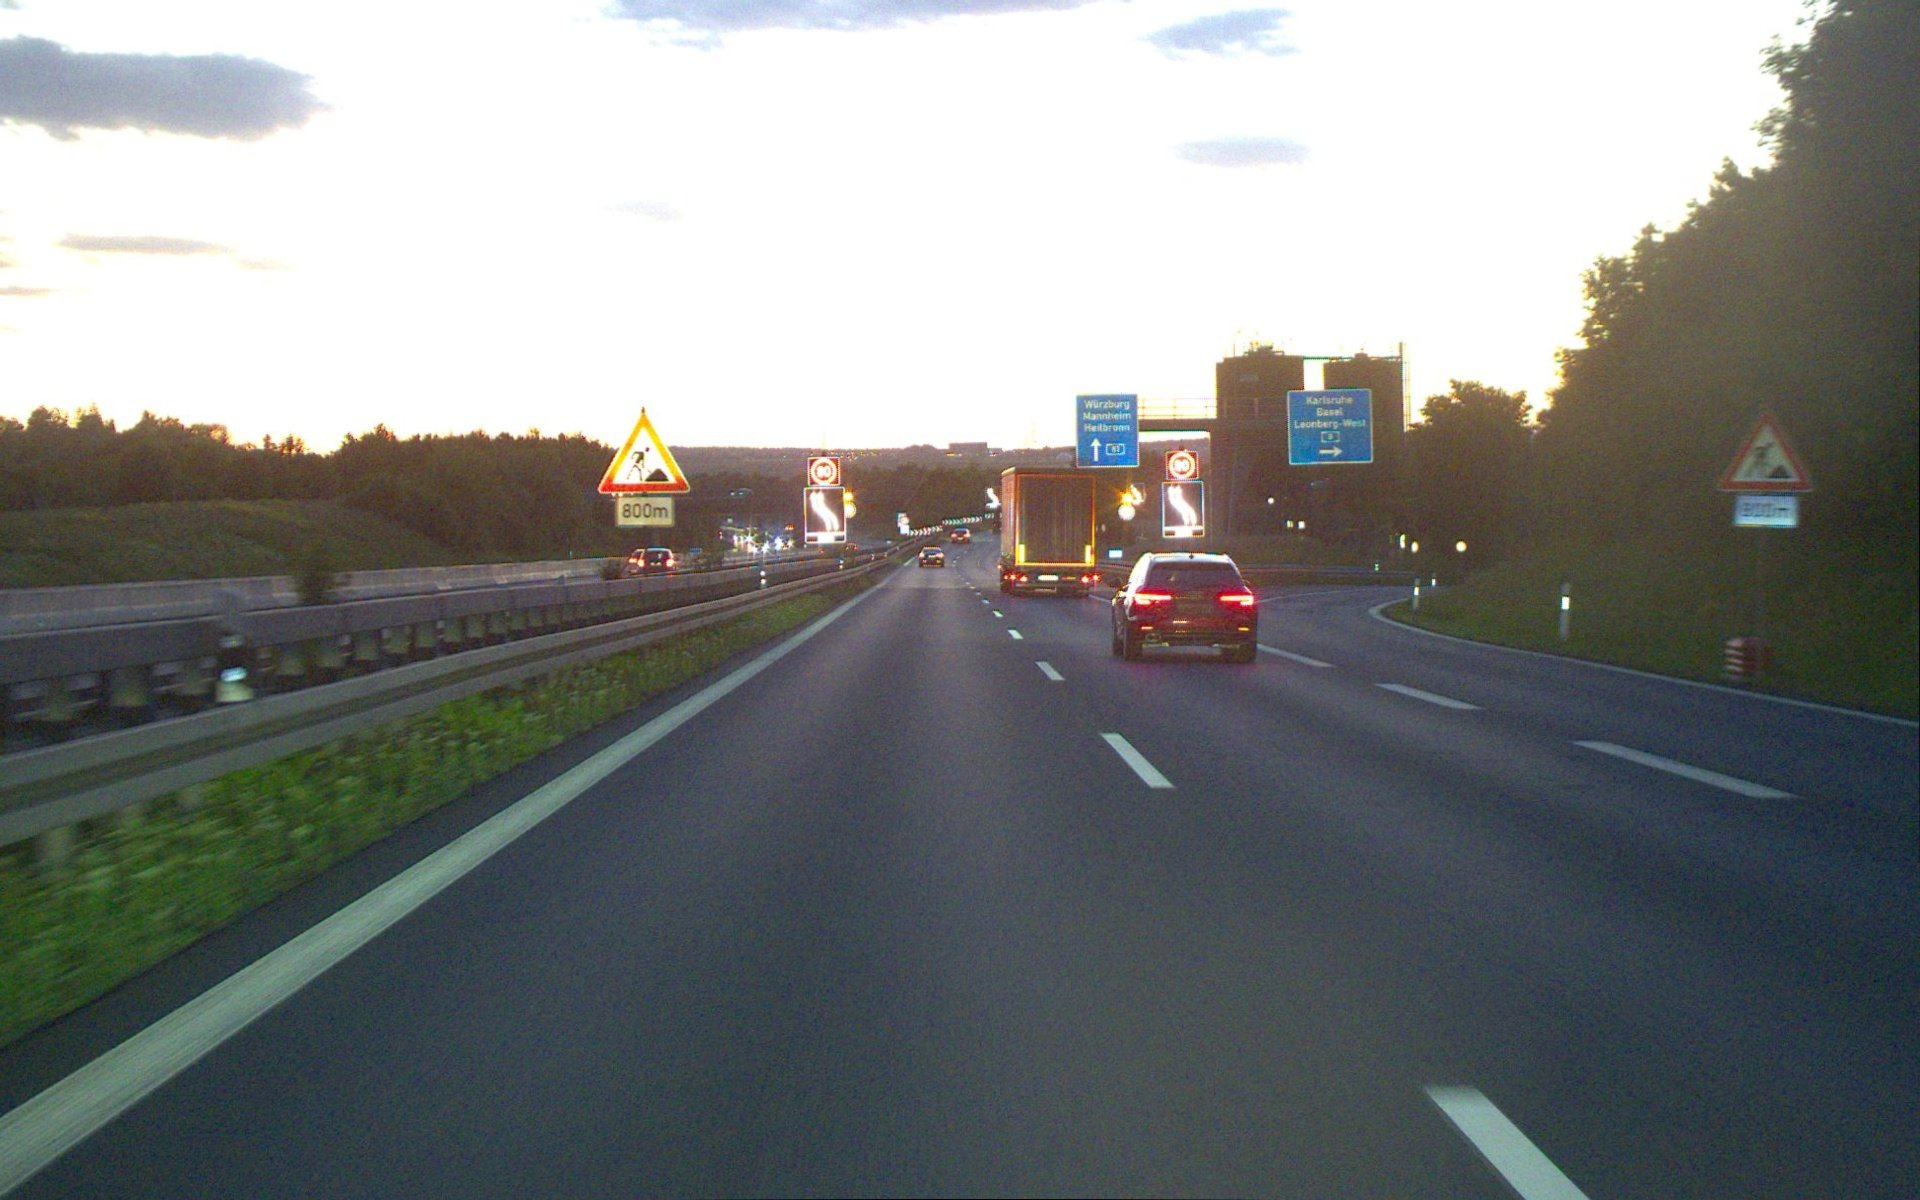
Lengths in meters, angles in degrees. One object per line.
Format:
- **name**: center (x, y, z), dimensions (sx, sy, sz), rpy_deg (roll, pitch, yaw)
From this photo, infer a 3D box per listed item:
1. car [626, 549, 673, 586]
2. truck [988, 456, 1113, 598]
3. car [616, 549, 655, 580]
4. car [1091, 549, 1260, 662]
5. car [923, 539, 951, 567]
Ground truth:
- **car**: center (-13.724, -1.445, 152.133), dimensions (1.713, 1.600, 3.722), rpy_deg (-1, 1, 0)
- **truck**: center (2.827, -2.306, 110.635), dimensions (3.509, 4.286, 9.892), rpy_deg (-1, 1, -1)
- **car**: center (-16.537, -1.819, 175.168), dimensions (1.638, 1.541, 3.395), rpy_deg (-1, 1, 0)
- **car**: center (2.907, 0.055, 47.131), dimensions (1.915, 1.437, 4.000), rpy_deg (-1, 1, -2)
- **car**: center (-1.709, -3.484, 253.712), dimensions (1.993, 2.007, 4.000), rpy_deg (-1, 1, 0)
